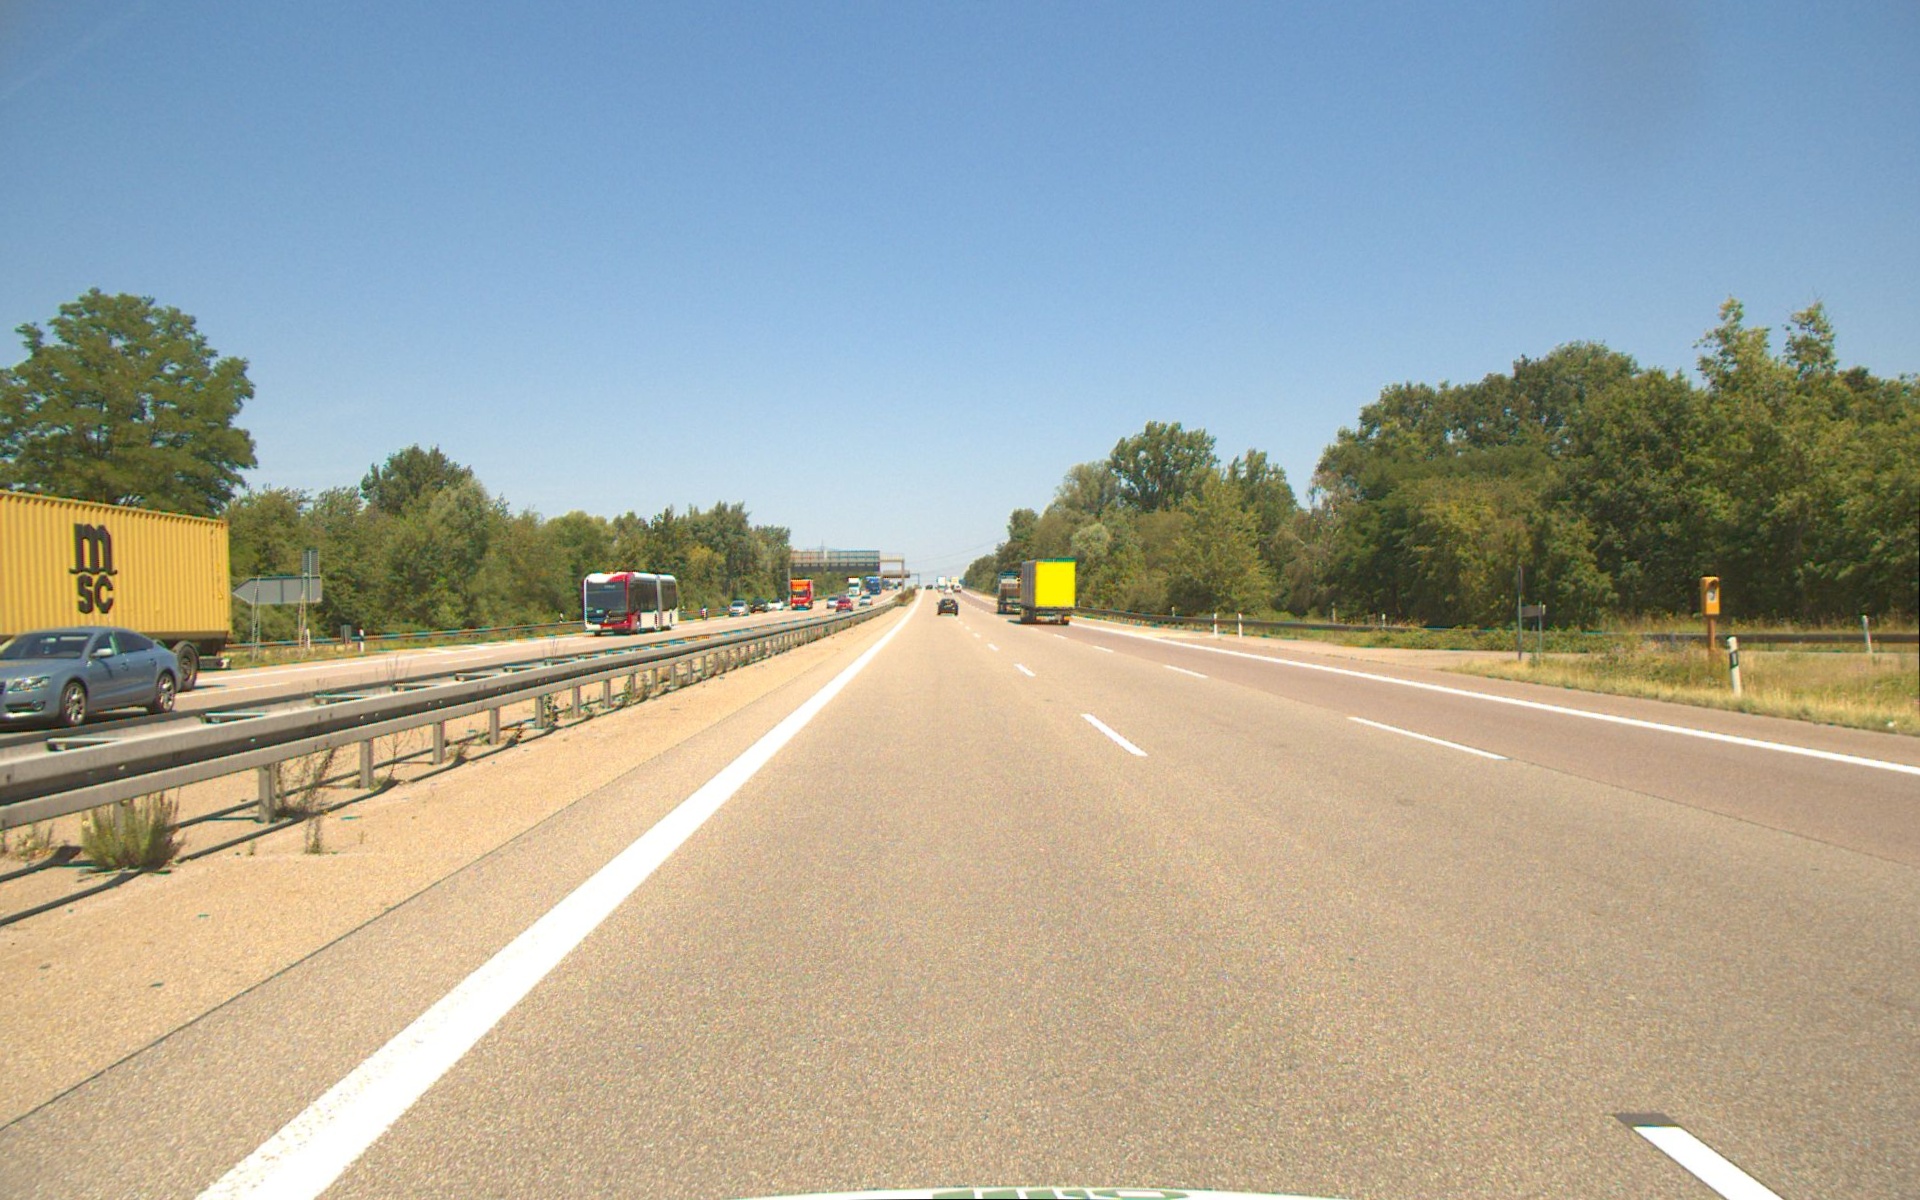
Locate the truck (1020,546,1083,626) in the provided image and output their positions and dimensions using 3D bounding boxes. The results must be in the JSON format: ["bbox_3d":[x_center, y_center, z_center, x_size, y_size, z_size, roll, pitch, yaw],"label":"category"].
[{"bbox_3d":[6.071,-0.868,111.940,3.308,4.966,15.084,1,0,0],"label":"truck"}]

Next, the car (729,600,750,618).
[{"bbox_3d":[-23.178,0.946,174.031,1.772,1.803,3.999,-1,0,-1],"label":"car"}]

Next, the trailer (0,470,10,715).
[{"bbox_3d":[-17.110,-0.140,24.531,2.550,4.061,6.028,1,0,-1],"label":"trailer"}]

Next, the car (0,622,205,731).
[{"bbox_3d":[-13.112,1.086,24.570,1.686,1.404,4.784,-4,-1,-2],"label":"car"}]

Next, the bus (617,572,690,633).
[{"bbox_3d":[-18.724,0.138,101.691,2.707,3.507,10.143,-1,0,-1],"label":"bus"}]

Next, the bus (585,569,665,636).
[{"bbox_3d":[-18.581,0.131,92.179,2.707,3.507,8.930,-1,0,-1],"label":"bus"}]

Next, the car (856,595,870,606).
[{"bbox_3d":[-13.775,0.067,235.652,1.772,1.530,3.999,-1,0,-1],"label":"car"}]

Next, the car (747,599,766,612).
[{"bbox_3d":[-24.600,0.640,200.110,1.772,1.530,3.999,-1,0,-1],"label":"car"}]

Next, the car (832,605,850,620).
[{"bbox_3d":[-12.872,1.328,178.994,1.772,1.530,3.999,-1,0,-1],"label":"car"}]

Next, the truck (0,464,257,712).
[{"bbox_3d":[-17.291,-0.172,31.573,2.547,4.118,12.688,-1,0,-1],"label":"truck"}]

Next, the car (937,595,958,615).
[{"bbox_3d":[-1.110,0.463,145.879,1.790,1.736,3.999,1,0,-1],"label":"car"}]

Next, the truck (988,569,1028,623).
[{"bbox_3d":[4.606,-0.353,160.824,3.298,4.966,15.084,1,0,0],"label":"truck"}]

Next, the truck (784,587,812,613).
[{"bbox_3d":[-21.212,0.026,216.872,2.545,3.268,12.122,1,0,-1],"label":"truck"}]
